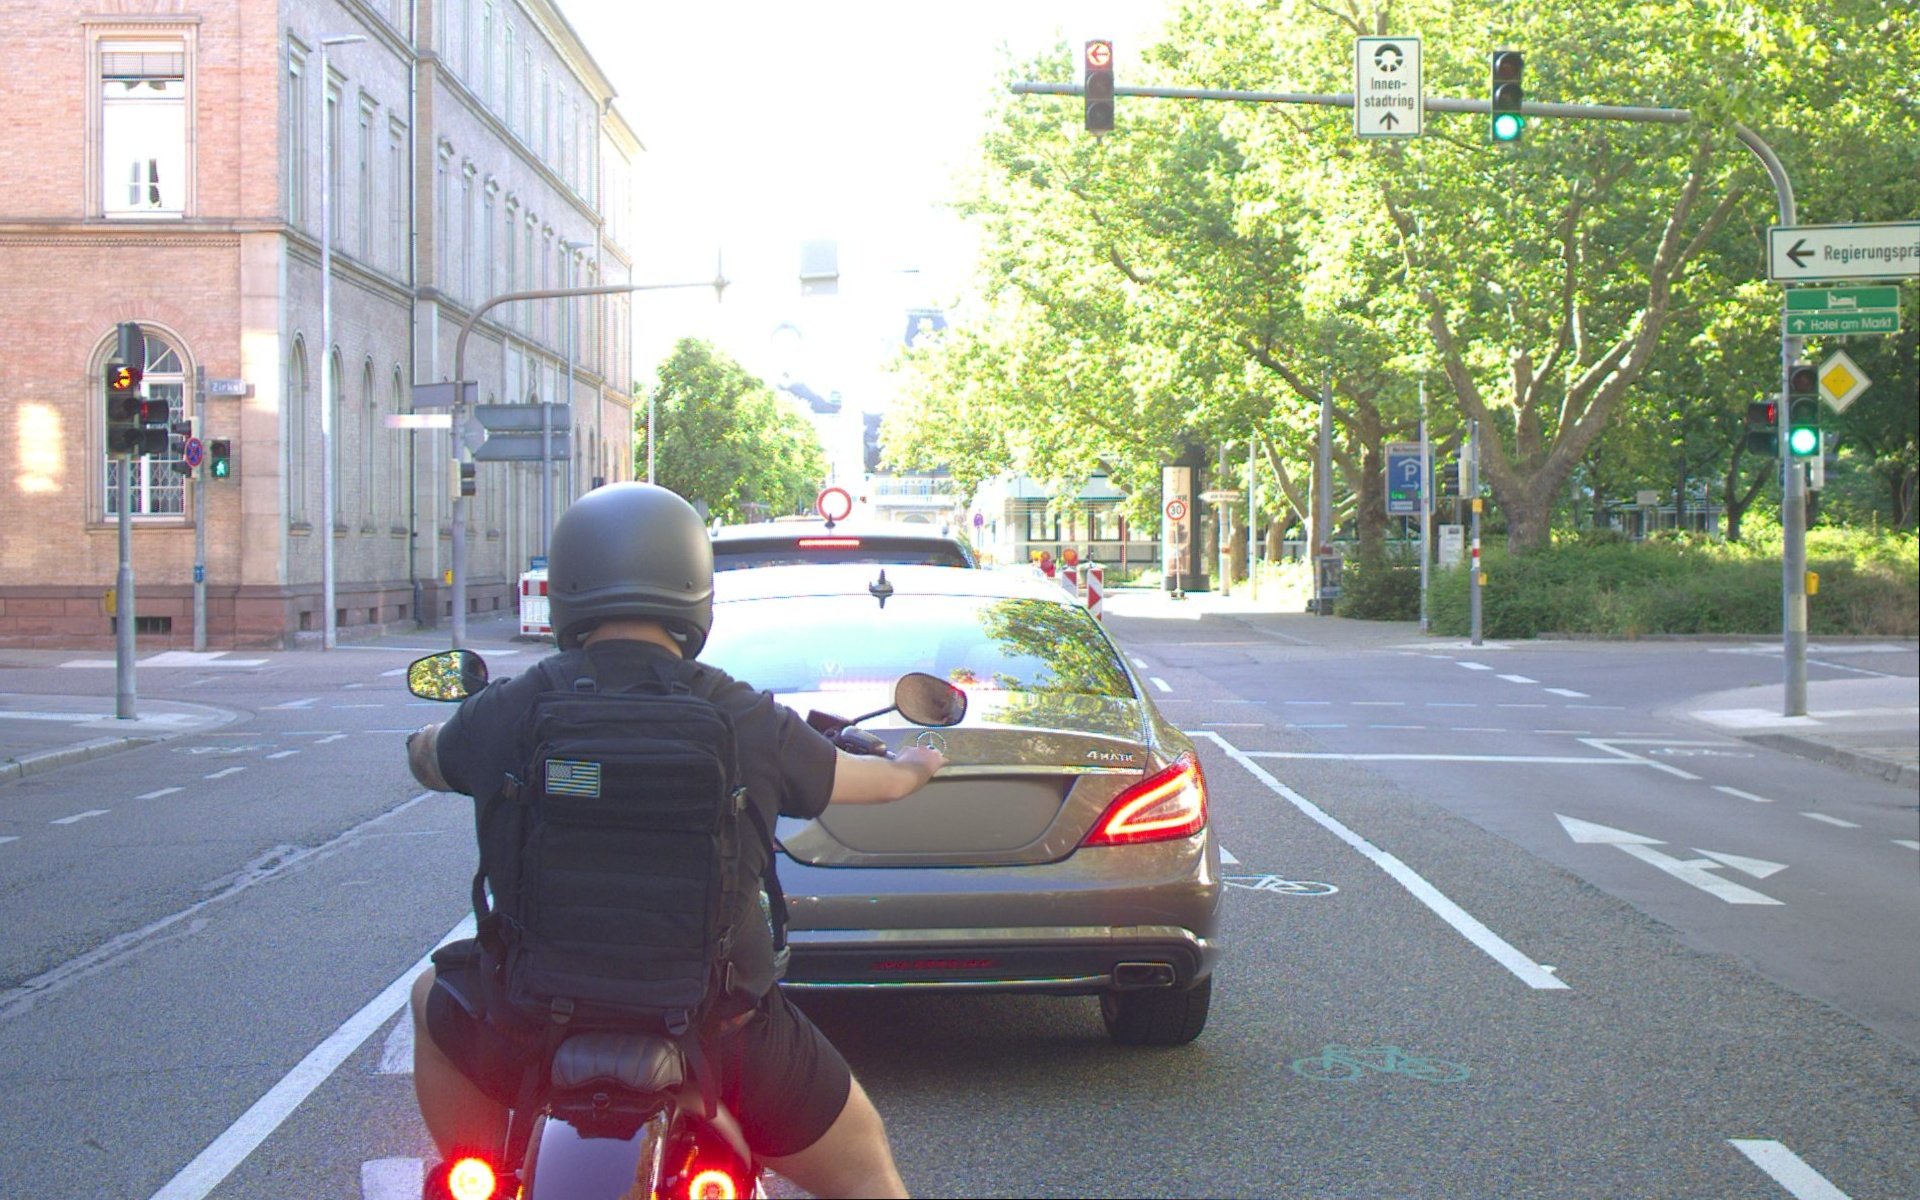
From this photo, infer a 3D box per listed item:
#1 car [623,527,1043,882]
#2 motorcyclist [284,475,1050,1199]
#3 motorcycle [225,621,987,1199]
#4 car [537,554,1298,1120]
[{"bbox_3d":[-0.651,0.414,16.778,1.813,1.530,3.849,0,1,-3],"label":"car"},{"bbox_3d":[-0.420,0.616,5.275,1.061,1.577,0.908,1,0,-1],"label":"motorcyclist"},{"bbox_3d":[-0.470,0.735,5.547,0.962,1.352,2.320,1,1,-1],"label":"motorcycle"},{"bbox_3d":[-0.356,0.583,11.128,1.901,1.436,4.290,0,1,-8],"label":"car"}]
